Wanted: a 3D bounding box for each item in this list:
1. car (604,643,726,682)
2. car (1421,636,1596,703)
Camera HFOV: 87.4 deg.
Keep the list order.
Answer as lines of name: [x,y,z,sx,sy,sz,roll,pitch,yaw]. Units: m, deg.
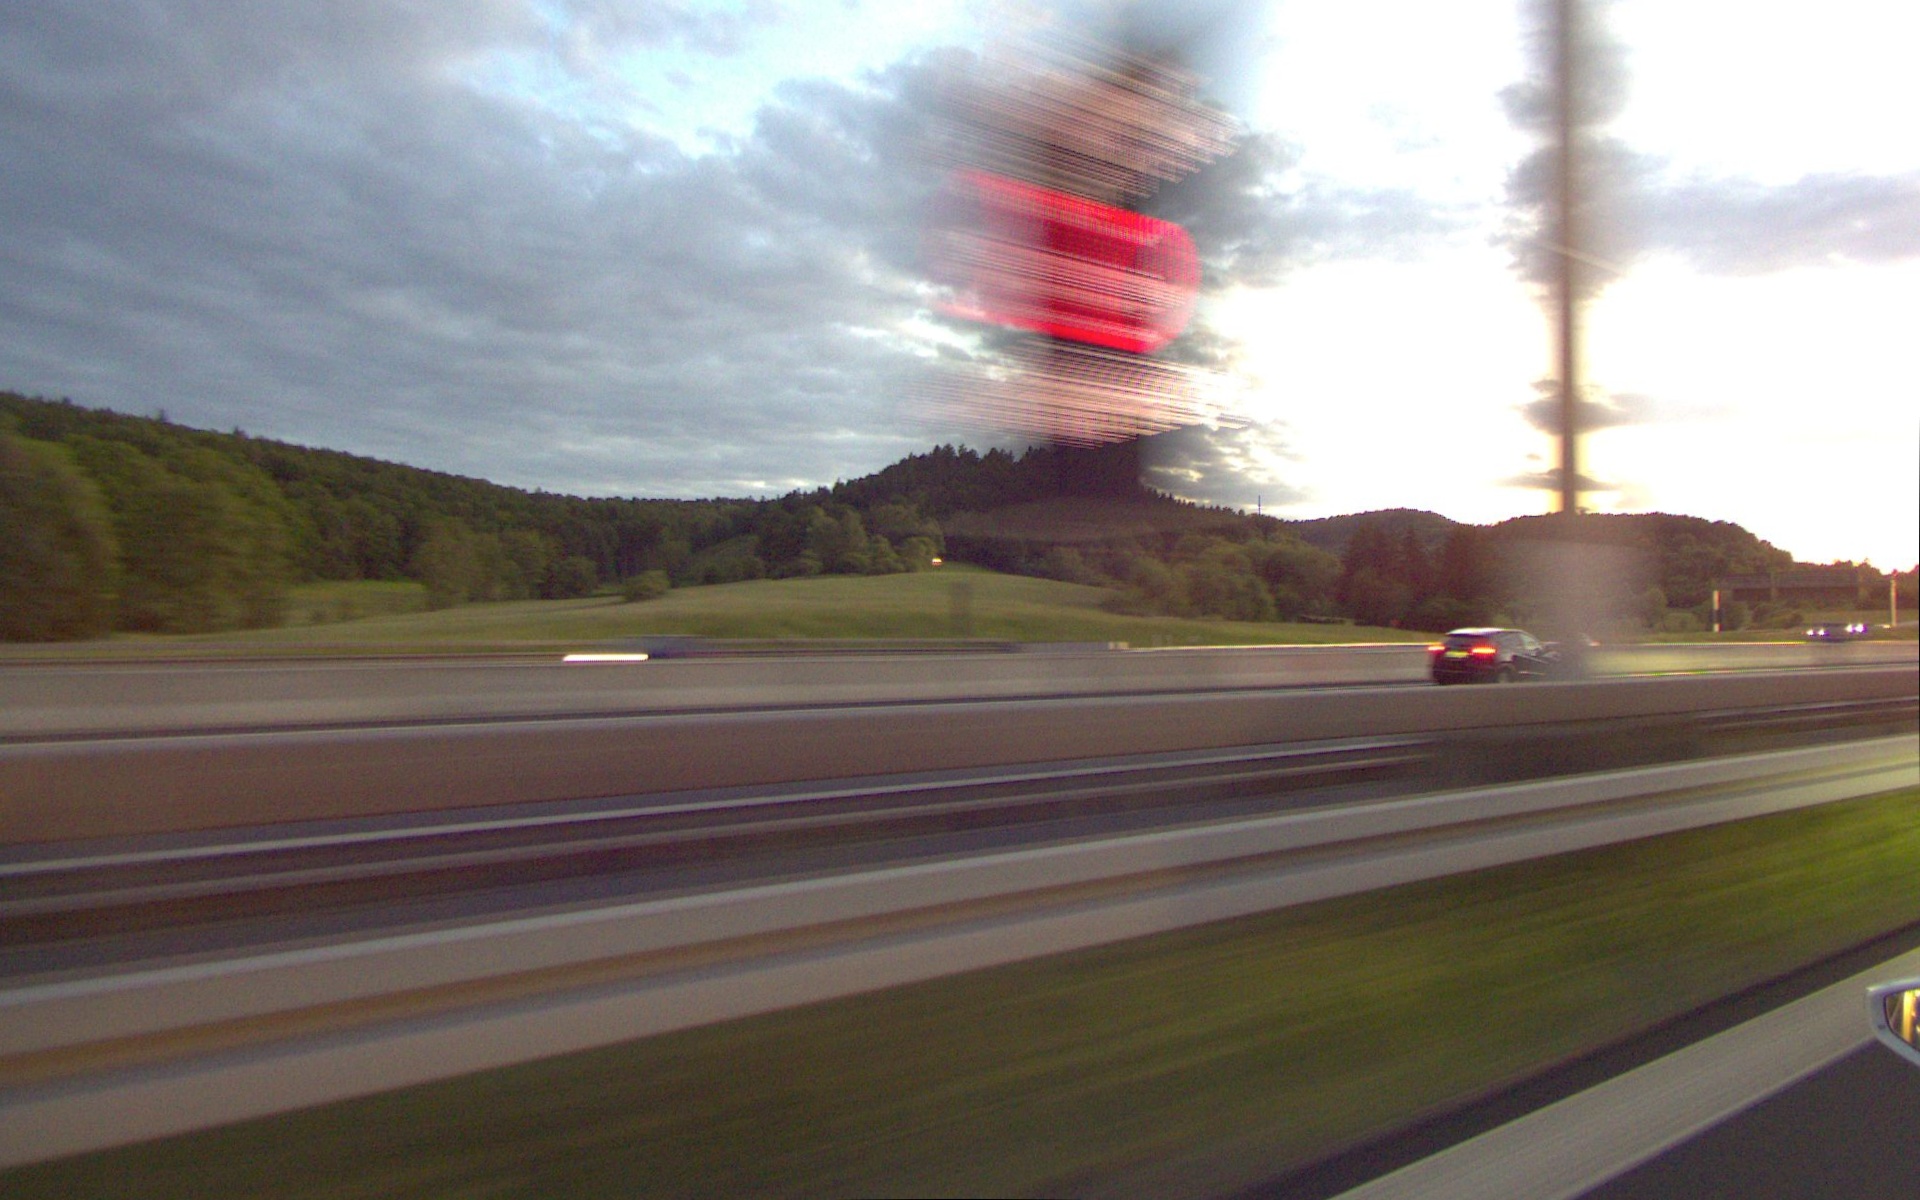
car: [-10.538,2.203,35.917,3.850,1.336,1.758,2,-3,-32]
car: [13.887,1.708,25.364,4.467,1.582,1.863,2,-2,-30]
